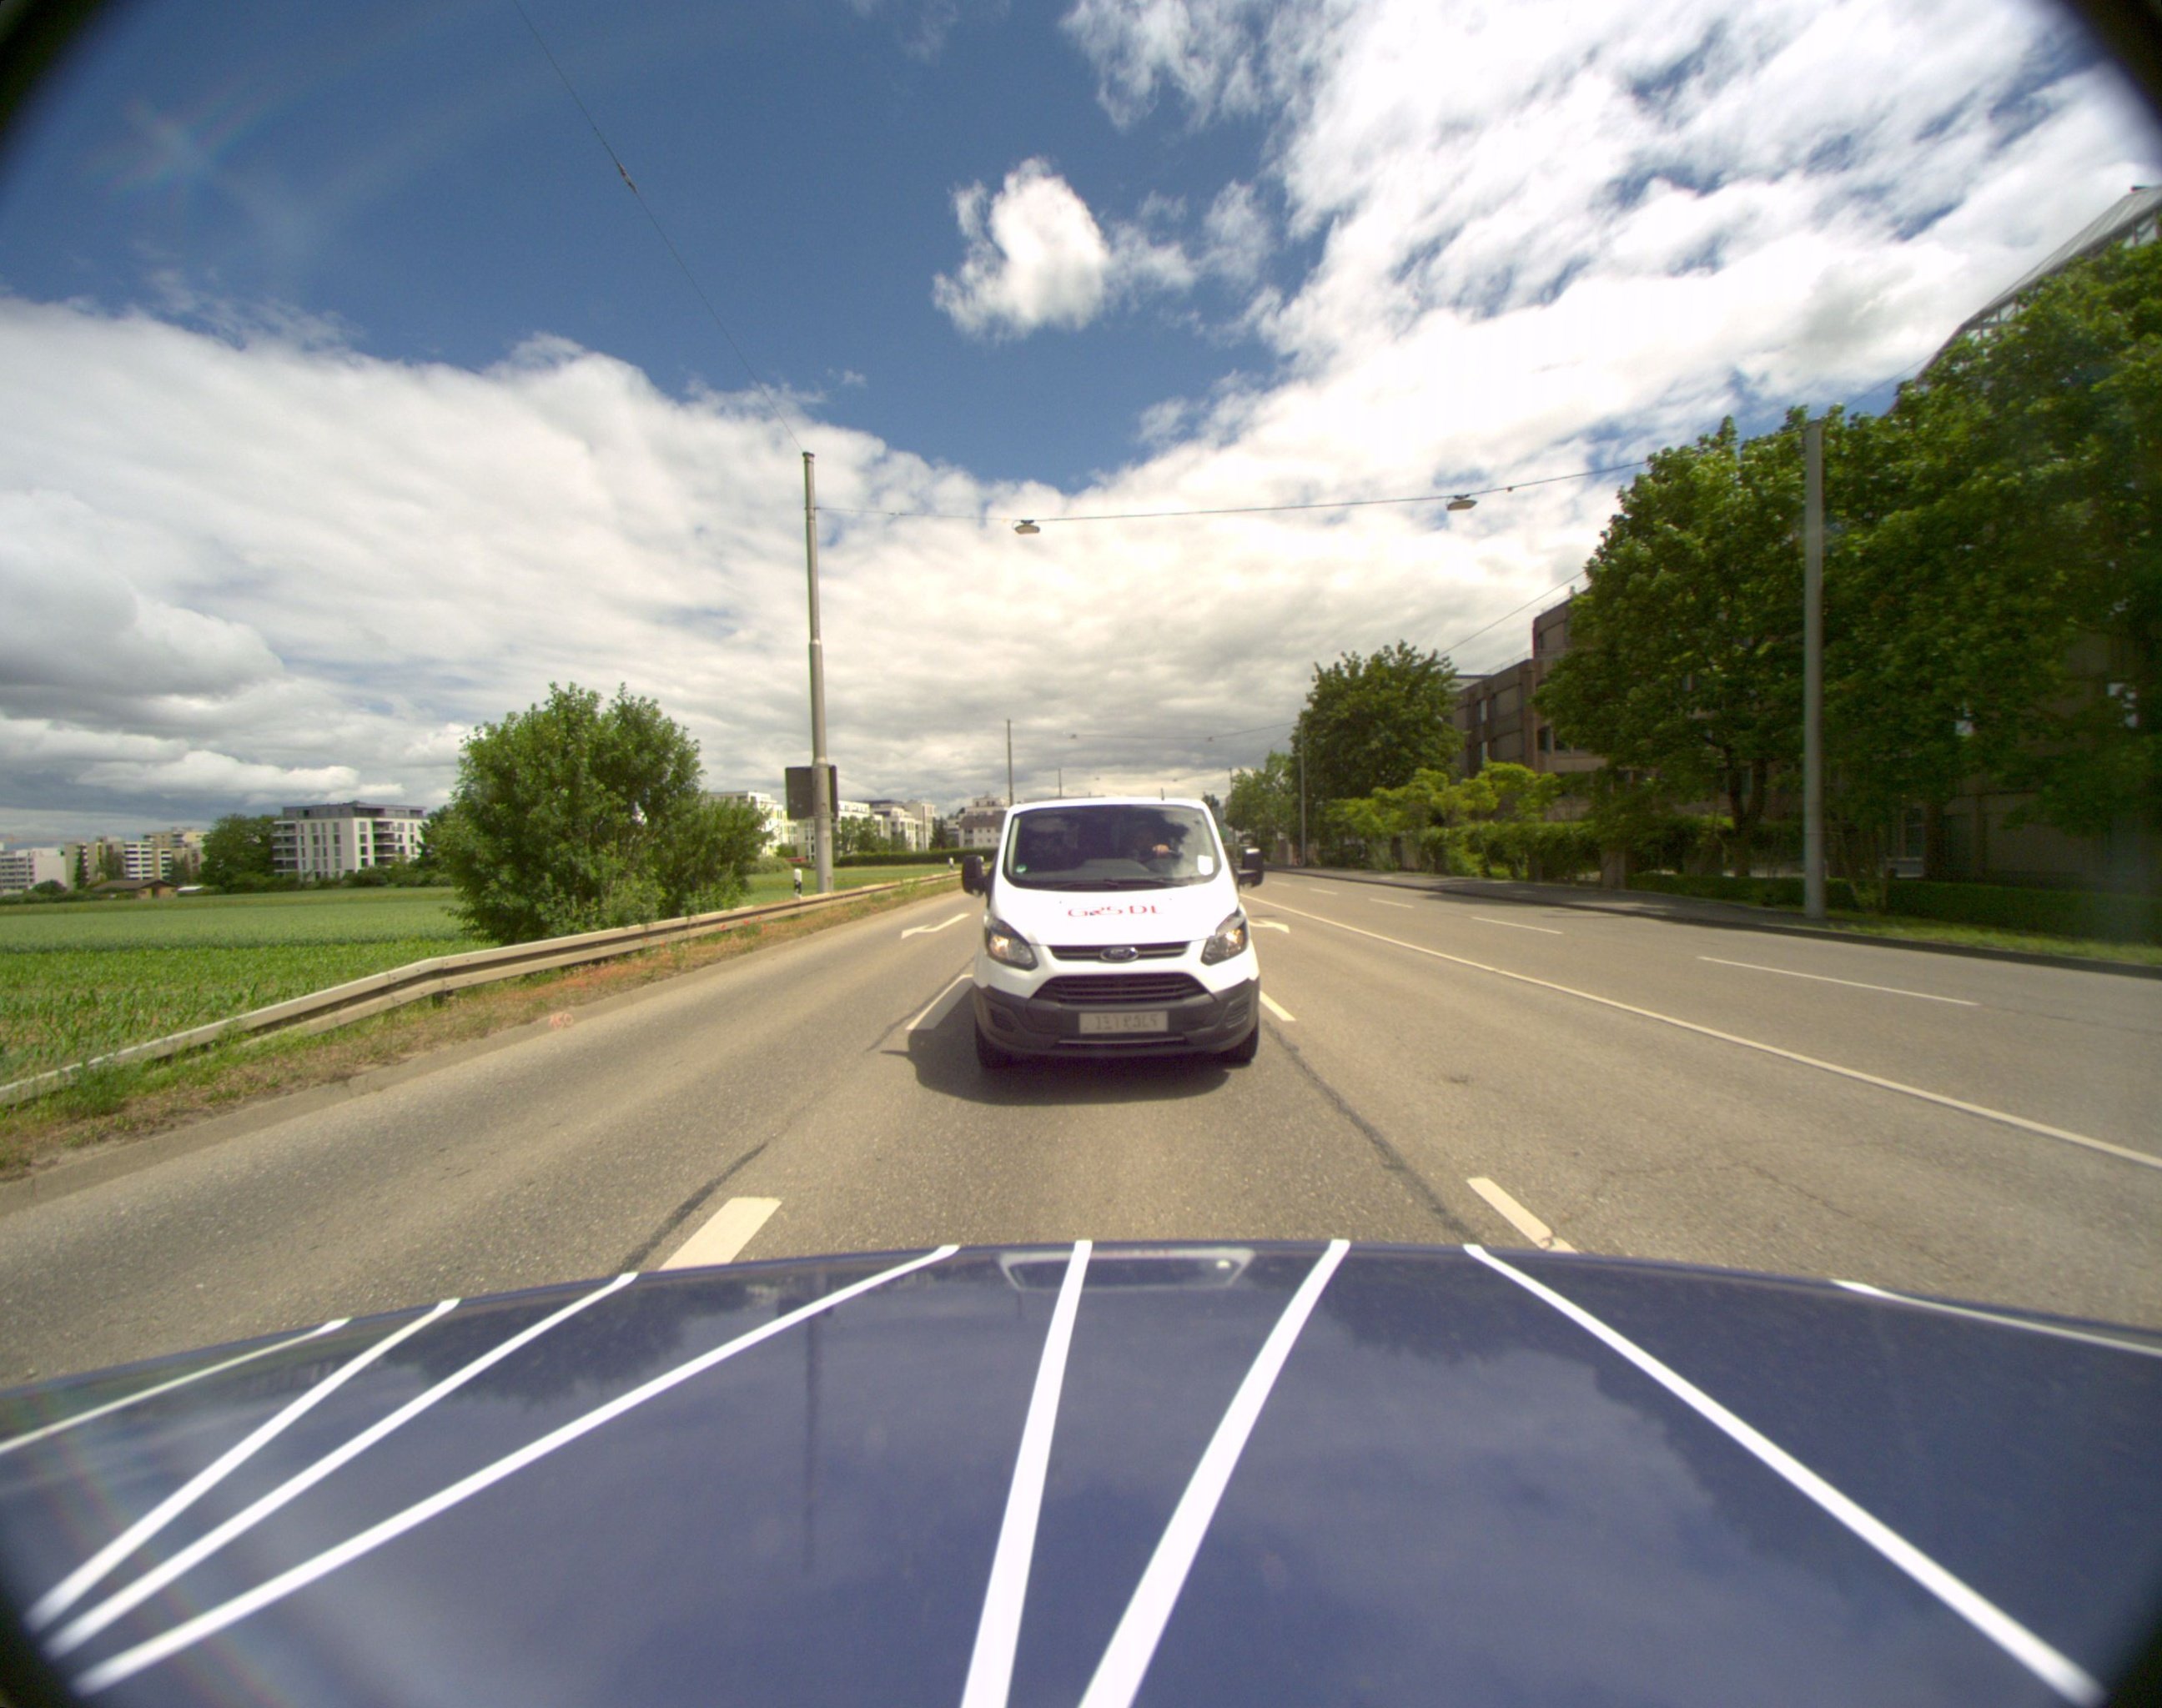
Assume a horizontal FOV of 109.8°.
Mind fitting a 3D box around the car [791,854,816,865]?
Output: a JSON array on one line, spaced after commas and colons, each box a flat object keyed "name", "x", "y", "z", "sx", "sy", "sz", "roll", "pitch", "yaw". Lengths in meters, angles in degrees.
[{"name": "car", "x": -57.276, "y": 1.150, "z": 156.768, "sx": 4.436, "sy": 2.002, "sz": 2.000, "roll": -1, "pitch": 2, "yaw": 2}]

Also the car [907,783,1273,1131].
[{"name": "car", "x": 0.256, "y": 0.566, "z": 7.161, "sx": 1.998, "sy": 1.907, "sz": 5.883, "roll": -1, "pitch": 0, "yaw": 4}]

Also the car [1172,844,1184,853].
[{"name": "car", "x": 18.653, "y": -1.148, "z": 145.560, "sx": 1.872, "sy": 1.606, "sz": 4.571, "roll": -1, "pitch": 1, "yaw": 3}]
